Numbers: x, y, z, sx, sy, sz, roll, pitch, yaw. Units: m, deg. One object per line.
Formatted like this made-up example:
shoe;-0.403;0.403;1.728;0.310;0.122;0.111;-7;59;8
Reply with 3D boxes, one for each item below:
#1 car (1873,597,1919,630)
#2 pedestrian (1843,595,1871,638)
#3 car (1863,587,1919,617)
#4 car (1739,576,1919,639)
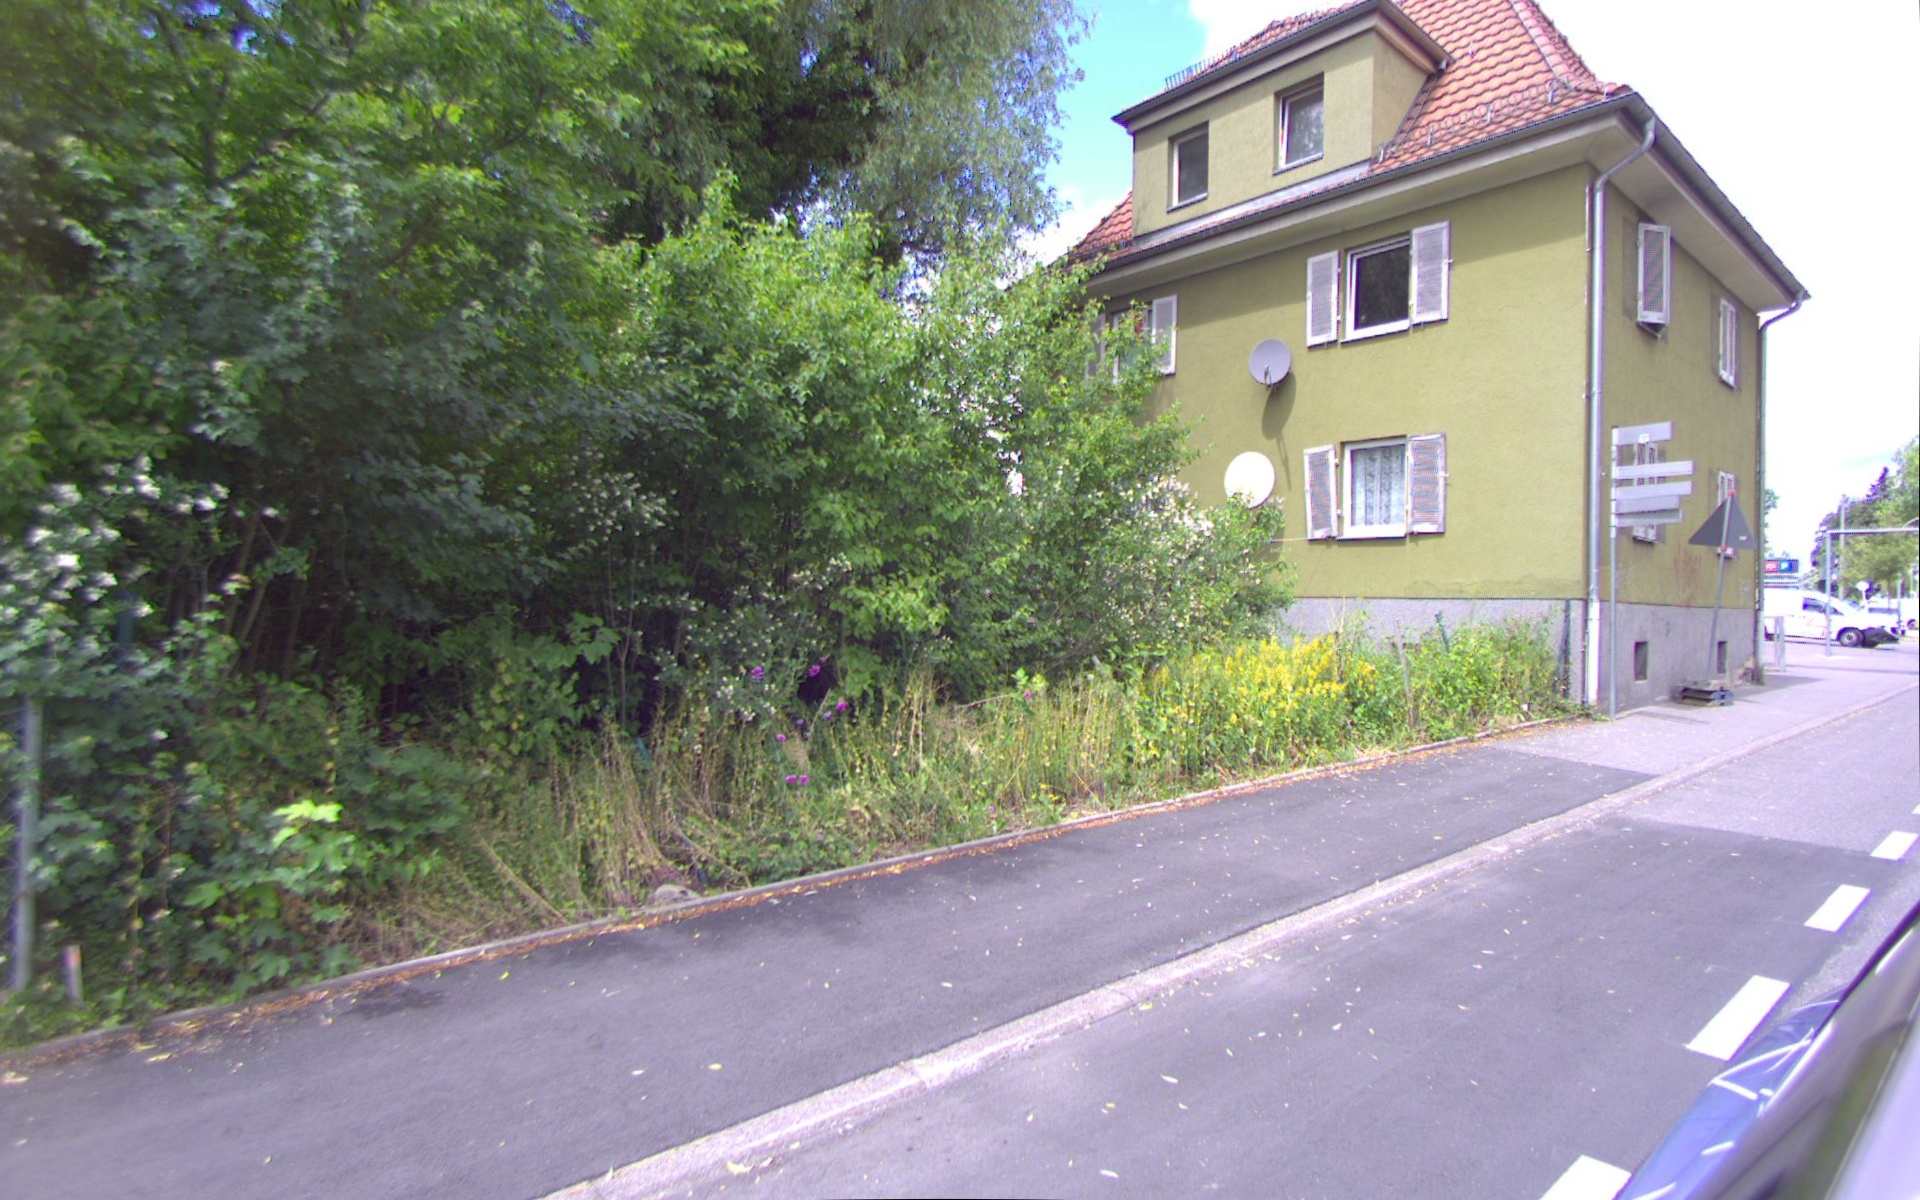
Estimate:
car;47.752;0.650;51.304;3.932;1.529;1.797;-2;2;-42
pedestrian;33.700;0.607;38.041;0.726;1.572;1.042;1;0;39
car;61.786;0.157;65.593;1.762;1.820;4.513;0;2;-21
car;29.861;0.198;34.855;1.961;2.019;4.374;0;1;-32
